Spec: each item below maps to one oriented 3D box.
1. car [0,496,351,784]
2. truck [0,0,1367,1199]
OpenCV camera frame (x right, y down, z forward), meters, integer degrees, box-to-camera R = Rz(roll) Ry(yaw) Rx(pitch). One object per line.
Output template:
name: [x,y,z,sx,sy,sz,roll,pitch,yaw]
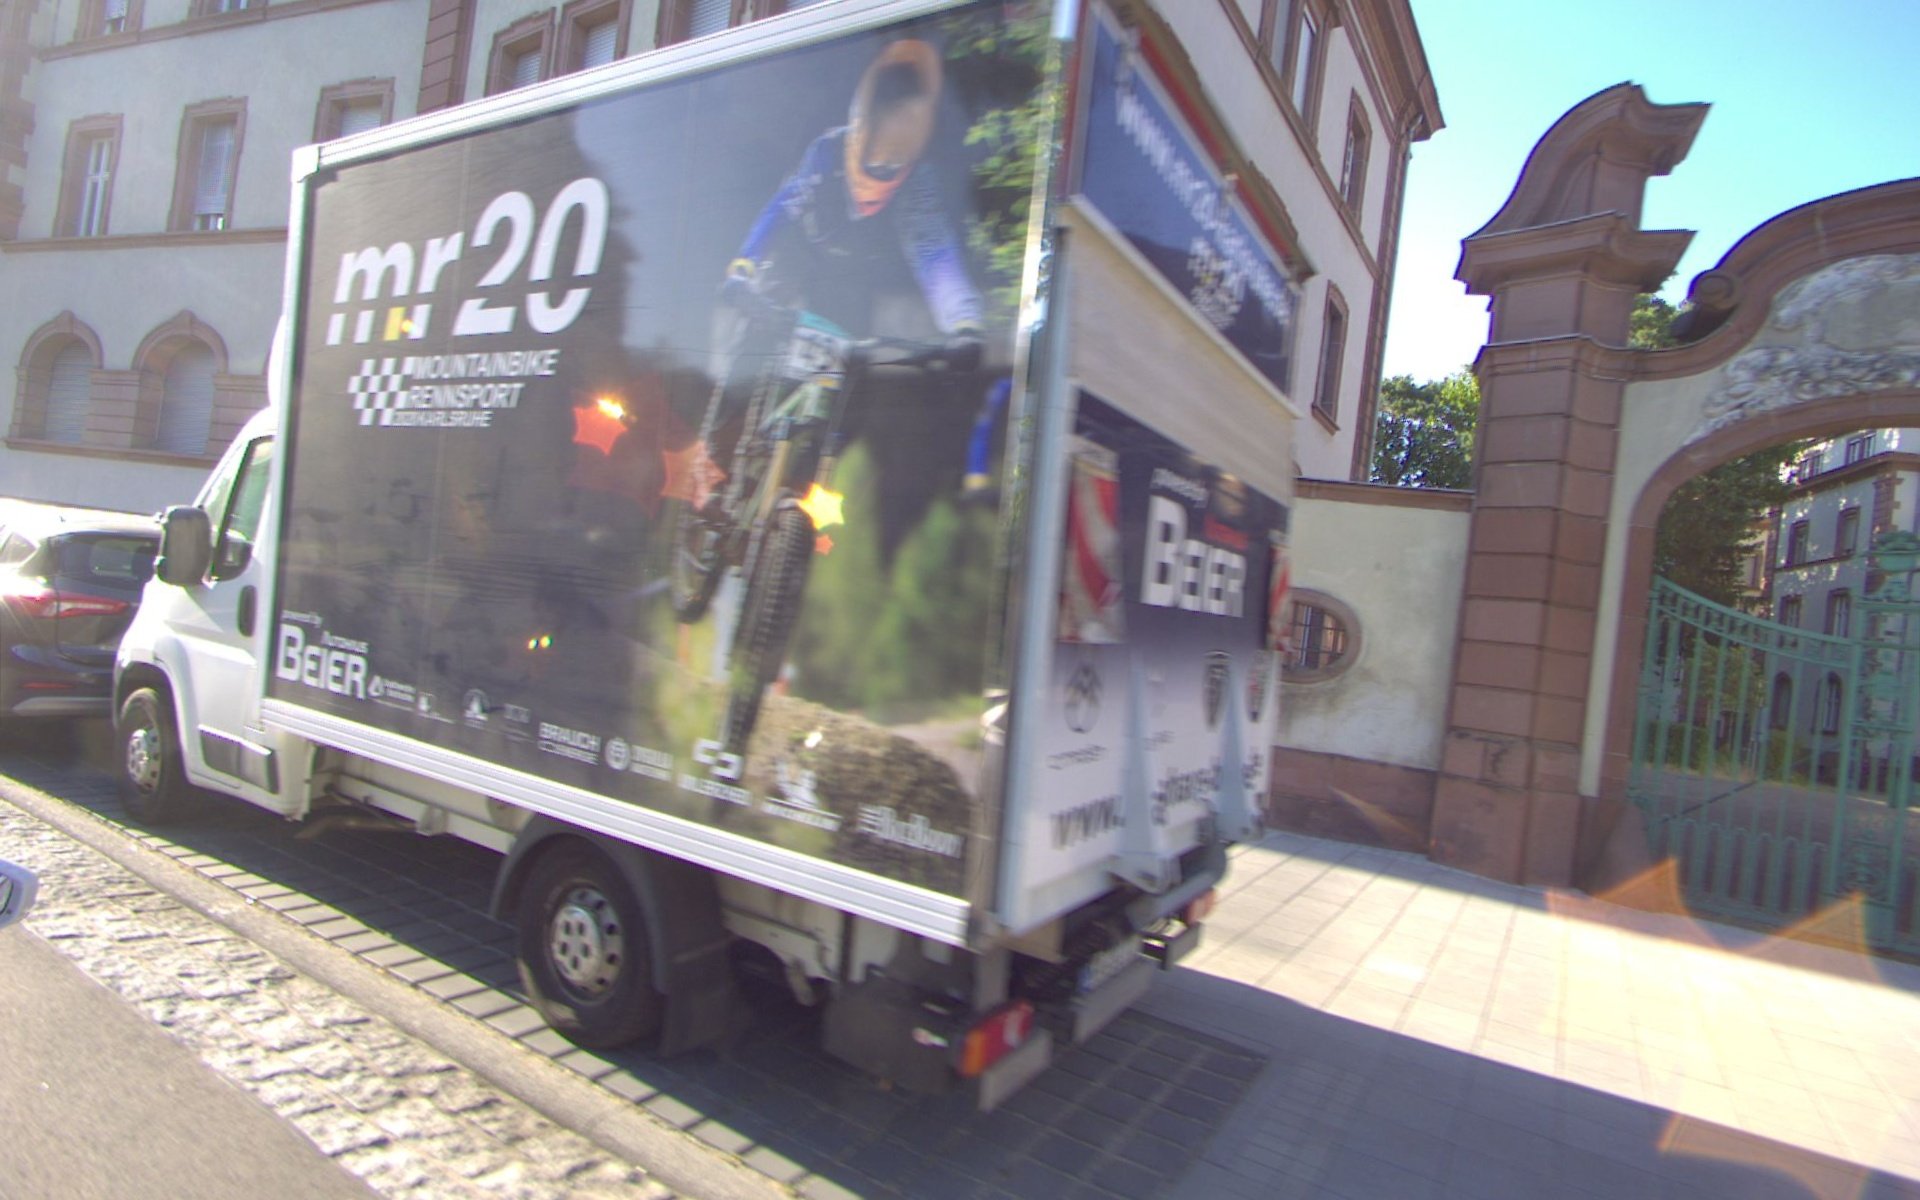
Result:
car: [-6.576,0.071,7.330,4.497,1.549,1.770,6,0,33]
truck: [-1.666,-0.229,4.656,5.985,3.160,2.627,7,0,30]
